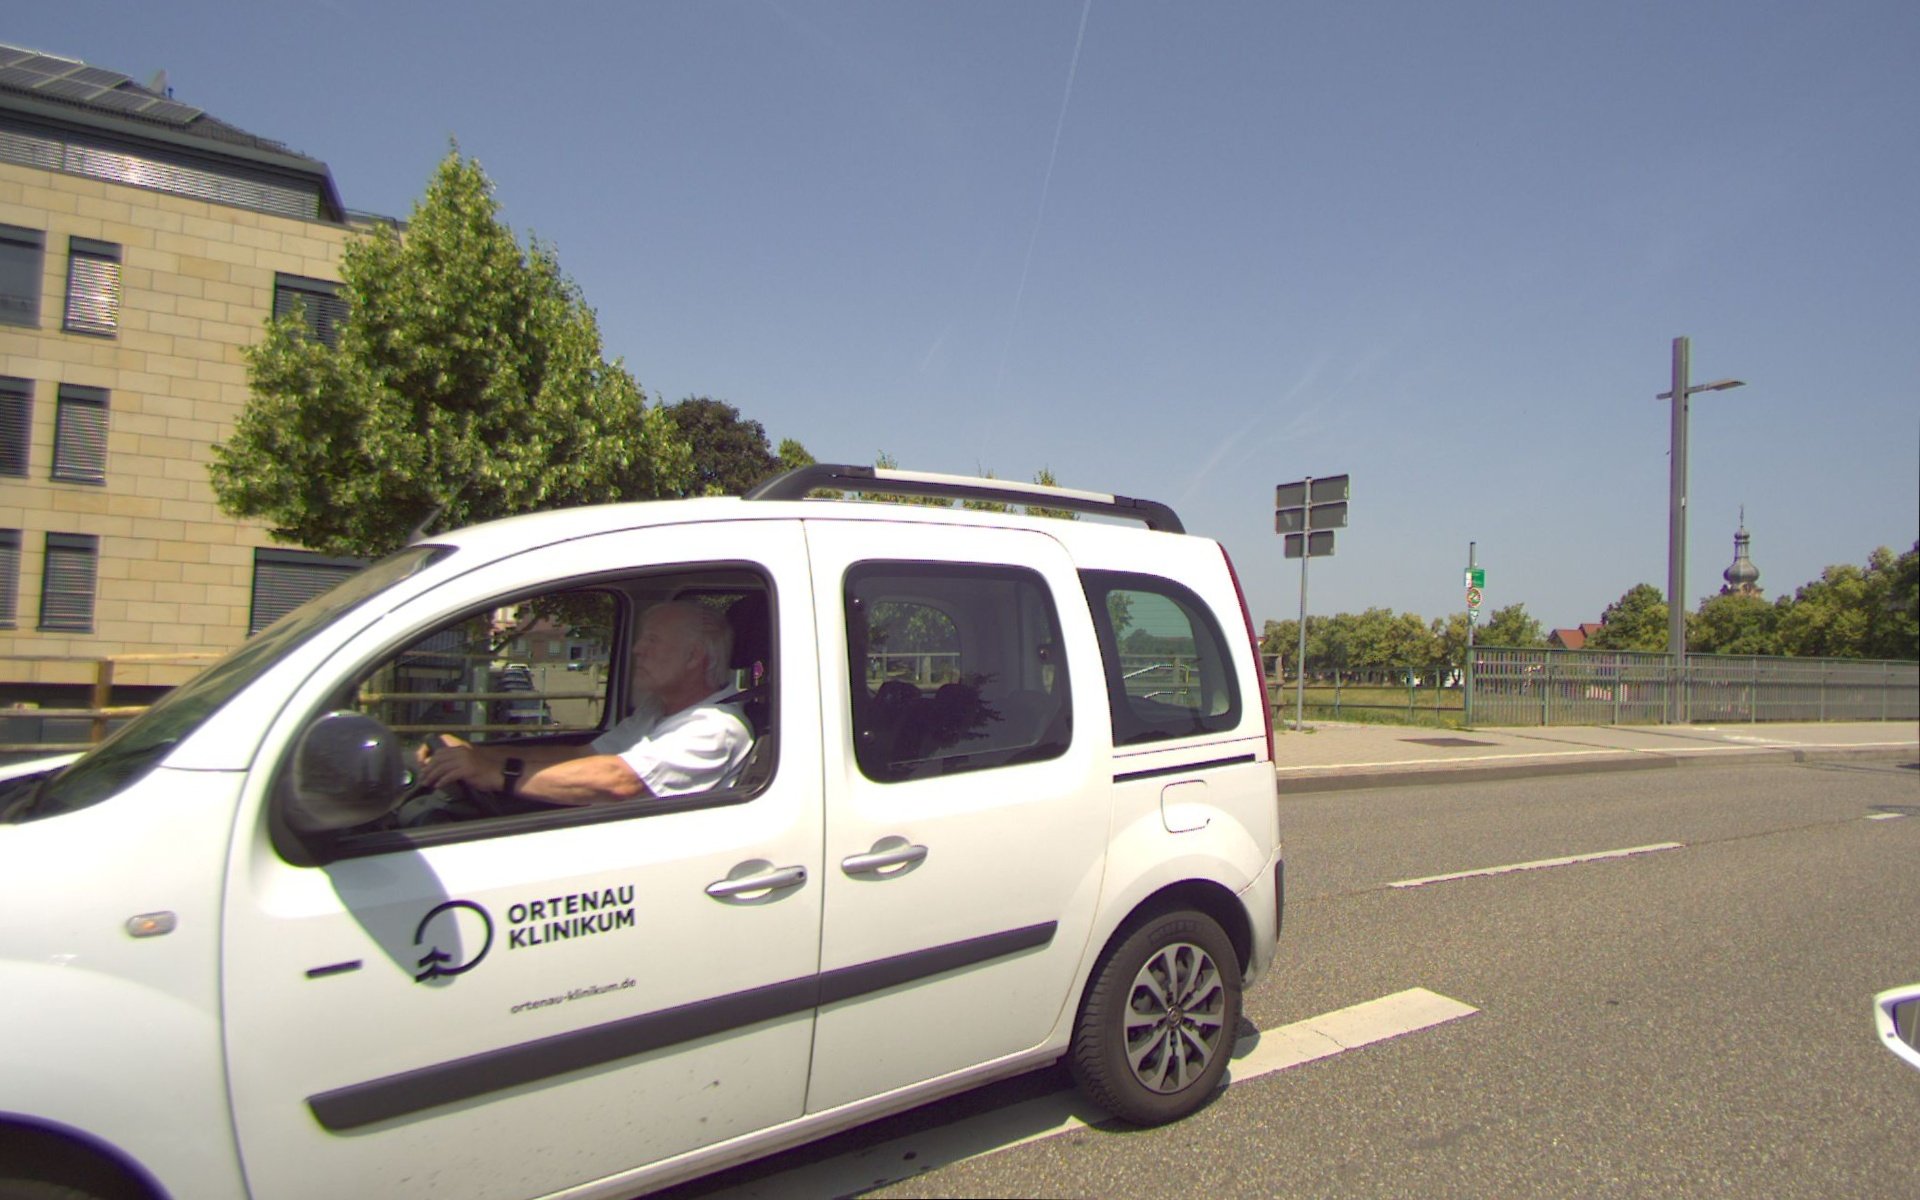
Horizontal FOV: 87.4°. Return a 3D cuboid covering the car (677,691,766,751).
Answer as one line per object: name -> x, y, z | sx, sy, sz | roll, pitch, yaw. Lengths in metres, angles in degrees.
car -> -7.706, 3.818, 32.246 | 1.973, 1.670, 3.976 | 3, -4, -25

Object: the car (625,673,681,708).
car -> -16.290, 4.789, 53.494 | 1.962, 1.670, 3.999 | 1, -4, -5

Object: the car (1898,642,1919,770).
car -> 14.516, 1.426, 13.323 | 3.869, 1.662, 1.732 | 2, -3, -26

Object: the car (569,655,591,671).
car -> -43.218, 7.159, 114.264 | 1.750, 1.671, 3.991 | 2, -2, -12

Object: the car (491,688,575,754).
car -> -12.572, 3.473, 29.424 | 1.974, 1.670, 3.974 | 3, -4, -26

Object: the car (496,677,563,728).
car -> -15.759, 3.695, 36.641 | 1.974, 1.670, 3.974 | 3, -4, -26

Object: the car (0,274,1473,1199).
car -> -0.557, 0.536, 3.099 | 4.615, 1.884, 1.826 | 2, -2, -34

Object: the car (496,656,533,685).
car -> -29.452, 4.649, 66.363 | 1.974, 1.671, 3.973 | 3, -2, -26

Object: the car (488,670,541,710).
car -> -20.284, 4.073, 45.643 | 1.974, 1.670, 3.974 | 3, -4, -26
